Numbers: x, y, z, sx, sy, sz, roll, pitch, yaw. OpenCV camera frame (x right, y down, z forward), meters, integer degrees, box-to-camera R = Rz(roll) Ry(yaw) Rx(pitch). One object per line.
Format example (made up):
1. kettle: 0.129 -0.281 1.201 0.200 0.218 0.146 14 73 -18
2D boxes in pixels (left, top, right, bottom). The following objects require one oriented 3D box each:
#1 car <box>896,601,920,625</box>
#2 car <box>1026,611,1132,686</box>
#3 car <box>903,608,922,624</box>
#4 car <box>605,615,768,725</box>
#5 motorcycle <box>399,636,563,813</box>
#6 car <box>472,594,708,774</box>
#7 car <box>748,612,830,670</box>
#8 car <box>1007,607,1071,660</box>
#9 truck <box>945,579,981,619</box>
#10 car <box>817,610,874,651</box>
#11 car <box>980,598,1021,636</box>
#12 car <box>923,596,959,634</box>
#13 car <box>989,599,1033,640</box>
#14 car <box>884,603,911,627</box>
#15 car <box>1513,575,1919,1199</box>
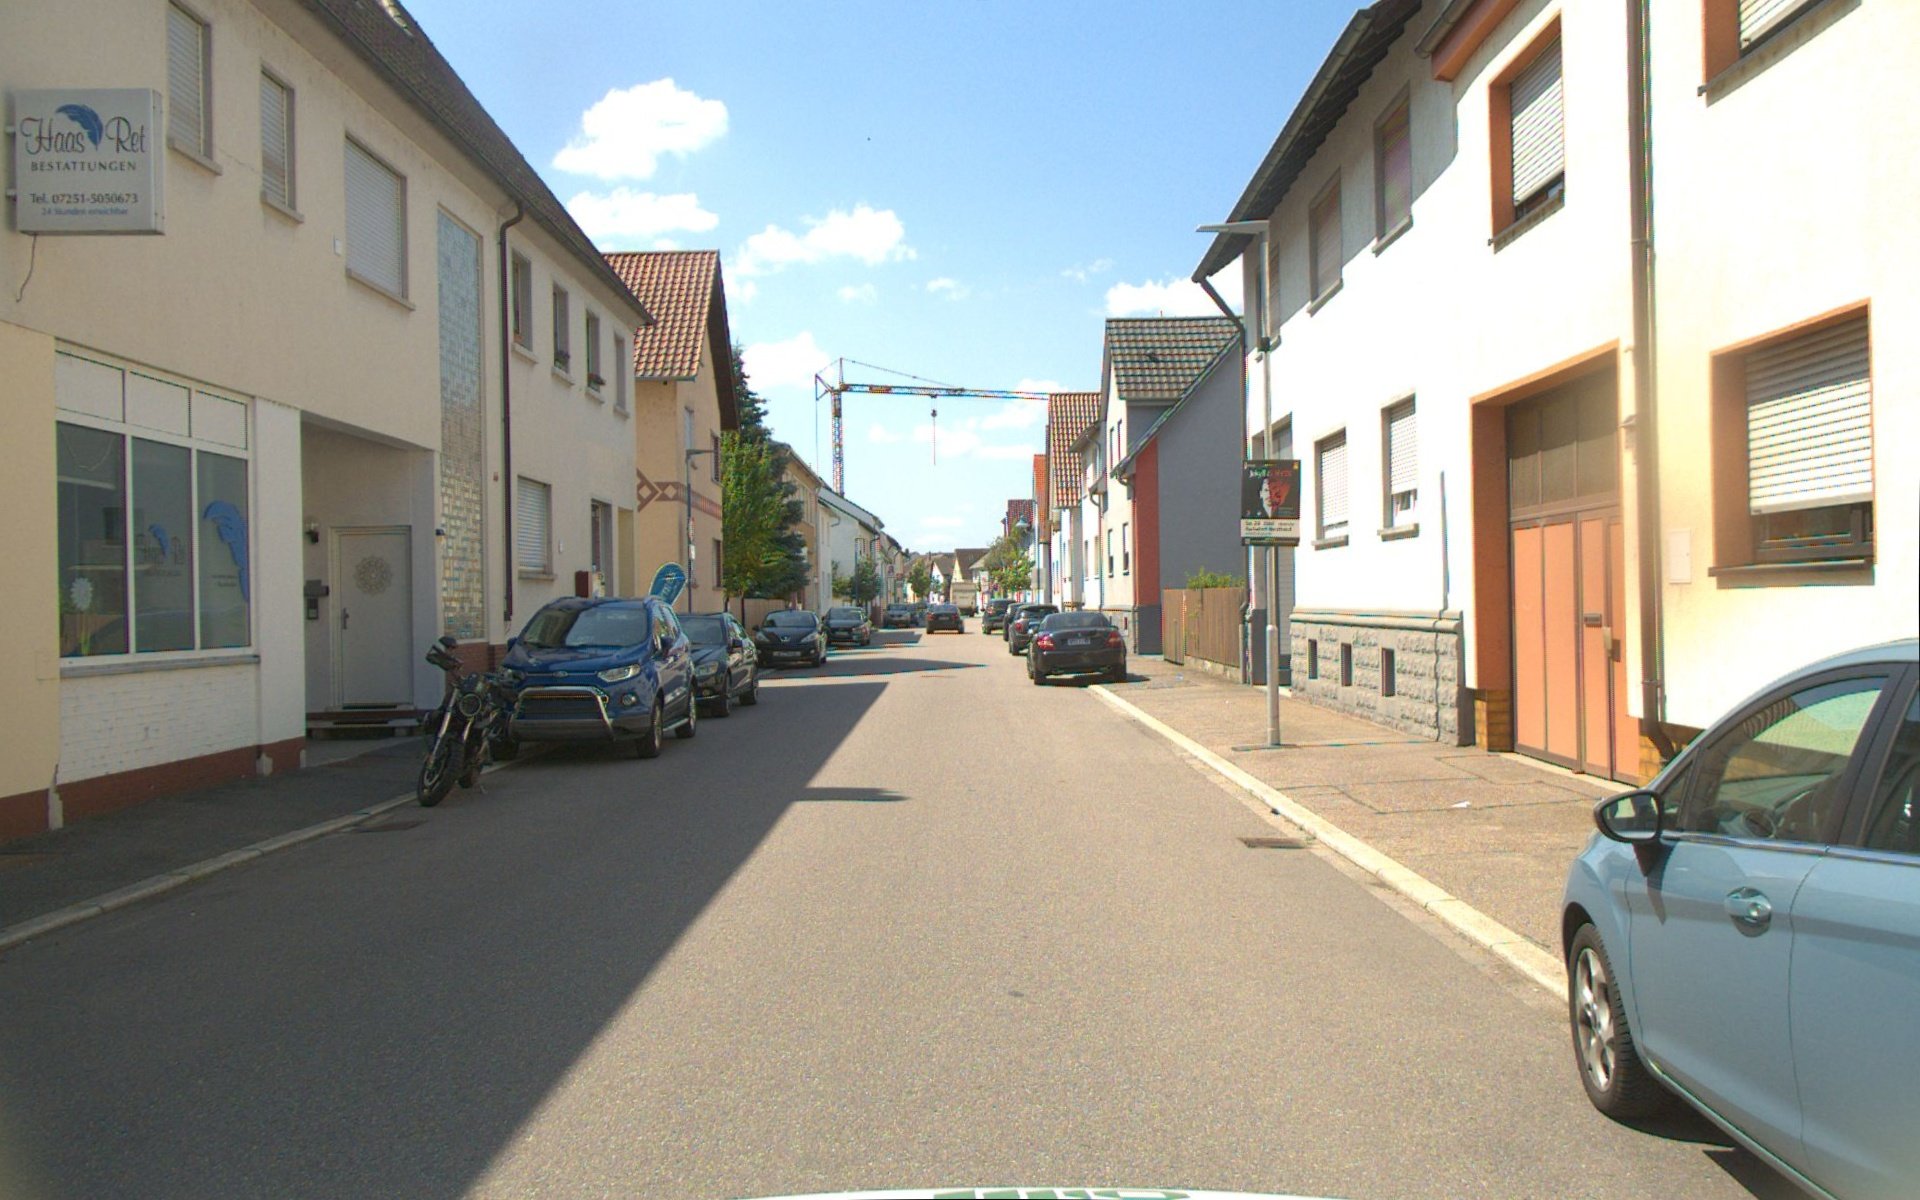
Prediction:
1. car: -3.743 0.945 119.747 1.619 1.637 4.060 -2 0 -1
2. car: 2.238 0.891 32.094 1.778 1.298 4.147 -1 0 0
3. car: -4.531 1.525 159.107 1.688 1.583 4.172 0 0 0
4. car: -3.968 0.970 24.648 1.663 1.436 4.390 -1 0 0
5. motorcycle: -4.042 1.005 14.146 0.792 1.335 2.105 -1 0 -1
6. car: -3.923 0.818 18.210 1.682 1.668 4.147 -3 0 -1
7. car: -4.357 1.017 42.658 1.725 1.398 4.066 0 0 -1
8. car: 2.285 0.962 48.626 1.654 1.447 3.656 -1 0 0
9. truck: 0.246 -0.064 177.008 3.311 3.933 13.921 -2 0 -2
10. car: -4.367 1.138 63.418 1.731 1.485 4.437 -1 0 1
11. car: 1.948 0.815 81.094 1.694 1.747 4.274 -1 0 -2
12. car: -0.977 0.766 84.134 1.747 1.784 3.999 -2 0 -1
13. car: 2.080 0.778 68.490 1.584 1.521 3.971 -4 0 0
14. car: -4.249 0.989 112.944 1.723 1.551 4.288 -2 0 -1
15. car: 2.649 0.712 3.685 1.686 1.507 3.751 -5 0 4
